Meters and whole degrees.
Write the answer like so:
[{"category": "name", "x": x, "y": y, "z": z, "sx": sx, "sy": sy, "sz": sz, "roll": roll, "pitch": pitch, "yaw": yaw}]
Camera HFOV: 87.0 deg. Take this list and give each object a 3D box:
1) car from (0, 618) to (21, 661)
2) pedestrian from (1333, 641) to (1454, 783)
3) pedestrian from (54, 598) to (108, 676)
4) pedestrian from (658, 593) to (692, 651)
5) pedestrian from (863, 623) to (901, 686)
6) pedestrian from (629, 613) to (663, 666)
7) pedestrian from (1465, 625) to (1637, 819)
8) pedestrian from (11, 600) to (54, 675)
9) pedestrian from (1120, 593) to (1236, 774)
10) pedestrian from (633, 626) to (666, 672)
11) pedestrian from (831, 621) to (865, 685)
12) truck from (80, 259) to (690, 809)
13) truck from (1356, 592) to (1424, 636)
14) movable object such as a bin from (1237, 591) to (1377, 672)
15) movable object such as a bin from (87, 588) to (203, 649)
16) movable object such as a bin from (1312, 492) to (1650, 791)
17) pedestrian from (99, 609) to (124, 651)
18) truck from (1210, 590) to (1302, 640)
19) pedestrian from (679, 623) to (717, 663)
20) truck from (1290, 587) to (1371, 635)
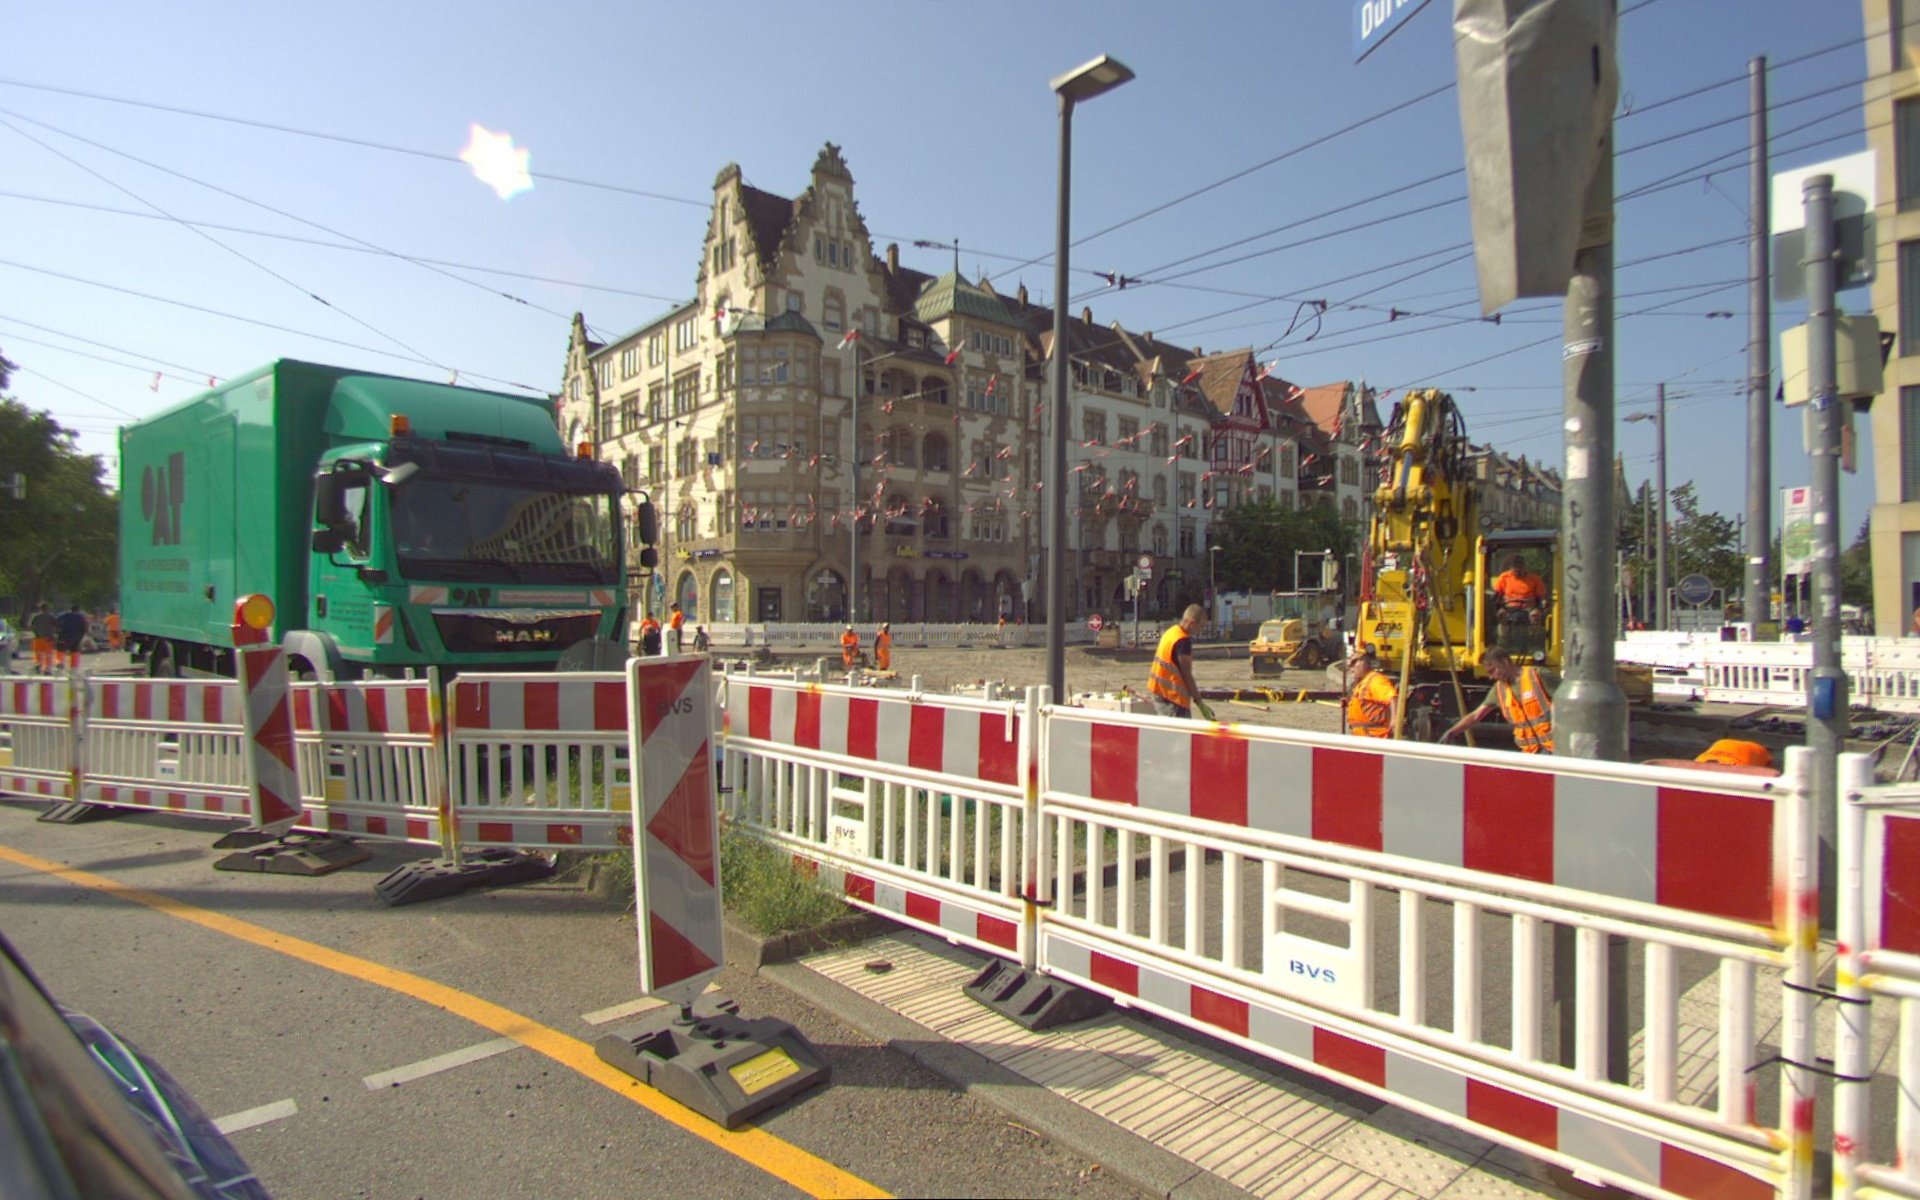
[{"category": "car", "x": -33.709, "y": 1.325, "z": 34.553, "sx": 1.967, "sy": 1.406, "sz": 4.009, "roll": 1, "pitch": -2, "yaw": -36}, {"category": "pedestrian", "x": 3.869, "y": 0.973, "z": 9.056, "sx": 0.691, "sy": 1.186, "sz": 0.704, "roll": 1, "pitch": -2, "yaw": -20}, {"category": "pedestrian", "x": -21.590, "y": 0.898, "z": 24.851, "sx": 0.802, "sy": 1.855, "sz": 0.908, "roll": -1, "pitch": -2, "yaw": 44}, {"category": "pedestrian", "x": -8.554, "y": 0.669, "z": 30.390, "sx": 0.741, "sy": 1.715, "sz": 0.679, "roll": 1, "pitch": -2, "yaw": -41}, {"category": "pedestrian", "x": -2.158, "y": 1.489, "z": 28.004, "sx": 0.730, "sy": 1.715, "sz": 0.760, "roll": 1, "pitch": -2, "yaw": -42}, {"category": "pedestrian", "x": -9.538, "y": 1.195, "z": 30.760, "sx": 0.729, "sy": 1.568, "sz": 0.751, "roll": 0, "pitch": -1, "yaw": 7}, {"category": "pedestrian", "x": 4.375, "y": 0.857, "z": 7.532, "sx": 0.691, "sy": 1.345, "sz": 0.839, "roll": 1, "pitch": -2, "yaw": -20}, {"category": "pedestrian", "x": -22.483, "y": 0.898, "z": 24.530, "sx": 0.466, "sy": 1.788, "sz": 0.710, "roll": -1, "pitch": -2, "yaw": 44}, {"category": "pedestrian", "x": 1.885, "y": 0.699, "z": 8.812, "sx": 0.730, "sy": 1.490, "sz": 0.705, "roll": 1, "pitch": -2, "yaw": -18}, {"category": "pedestrian", "x": -8.544, "y": 1.344, "z": 27.847, "sx": 0.668, "sy": 1.256, "sz": 0.548, "roll": 1, "pitch": -2, "yaw": -42}, {"category": "pedestrian", "x": -3.085, "y": 1.438, "z": 27.843, "sx": 0.728, "sy": 1.715, "sz": 0.761, "roll": 1, "pitch": -1, "yaw": -21}, {"category": "truck", "x": -6.784, "y": -0.375, "z": 10.997, "sx": 9.008, "sy": 3.817, "sz": 2.779, "roll": -1, "pitch": -3, "yaw": 40}, {"category": "truck", "x": 31.263, "y": 1.034, "z": 73.539, "sx": 6.261, "sy": 3.067, "sz": 2.241, "roll": 1, "pitch": -2, "yaw": -44}, {"category": "movable object such as a bin", "x": 13.066, "y": 1.109, "z": 37.928, "sx": 5.432, "sy": 2.810, "sz": 2.495, "roll": 0, "pitch": 0, "yaw": -40}, {"category": "movable object such as a bin", "x": -35.709, "y": 0.817, "z": 44.375, "sx": 2.912, "sy": 2.427, "sz": 3.135, "roll": 2, "pitch": -2, "yaw": 34}, {"category": "movable object such as a bin", "x": 7.136, "y": 0.513, "z": 13.708, "sx": 3.559, "sy": 3.247, "sz": 4.077, "roll": -1, "pitch": -2, "yaw": 34}, {"category": "pedestrian", "x": -35.542, "y": 1.252, "z": 42.394, "sx": 0.690, "sy": 1.752, "sz": 0.914, "roll": 1, "pitch": -2, "yaw": -36}, {"category": "truck", "x": 17.993, "y": 0.926, "z": 61.374, "sx": 5.949, "sy": 2.836, "sz": 2.694, "roll": 1, "pitch": -2, "yaw": -43}, {"category": "pedestrian", "x": -8.139, "y": 1.339, "z": 31.405, "sx": 0.867, "sy": 1.192, "sz": 0.721, "roll": 1, "pitch": -3, "yaw": 42}, {"category": "truck", "x": 24.836, "y": 0.797, "z": 67.733, "sx": 6.261, "sy": 3.067, "sz": 2.634, "roll": 1, "pitch": -2, "yaw": -44}]
